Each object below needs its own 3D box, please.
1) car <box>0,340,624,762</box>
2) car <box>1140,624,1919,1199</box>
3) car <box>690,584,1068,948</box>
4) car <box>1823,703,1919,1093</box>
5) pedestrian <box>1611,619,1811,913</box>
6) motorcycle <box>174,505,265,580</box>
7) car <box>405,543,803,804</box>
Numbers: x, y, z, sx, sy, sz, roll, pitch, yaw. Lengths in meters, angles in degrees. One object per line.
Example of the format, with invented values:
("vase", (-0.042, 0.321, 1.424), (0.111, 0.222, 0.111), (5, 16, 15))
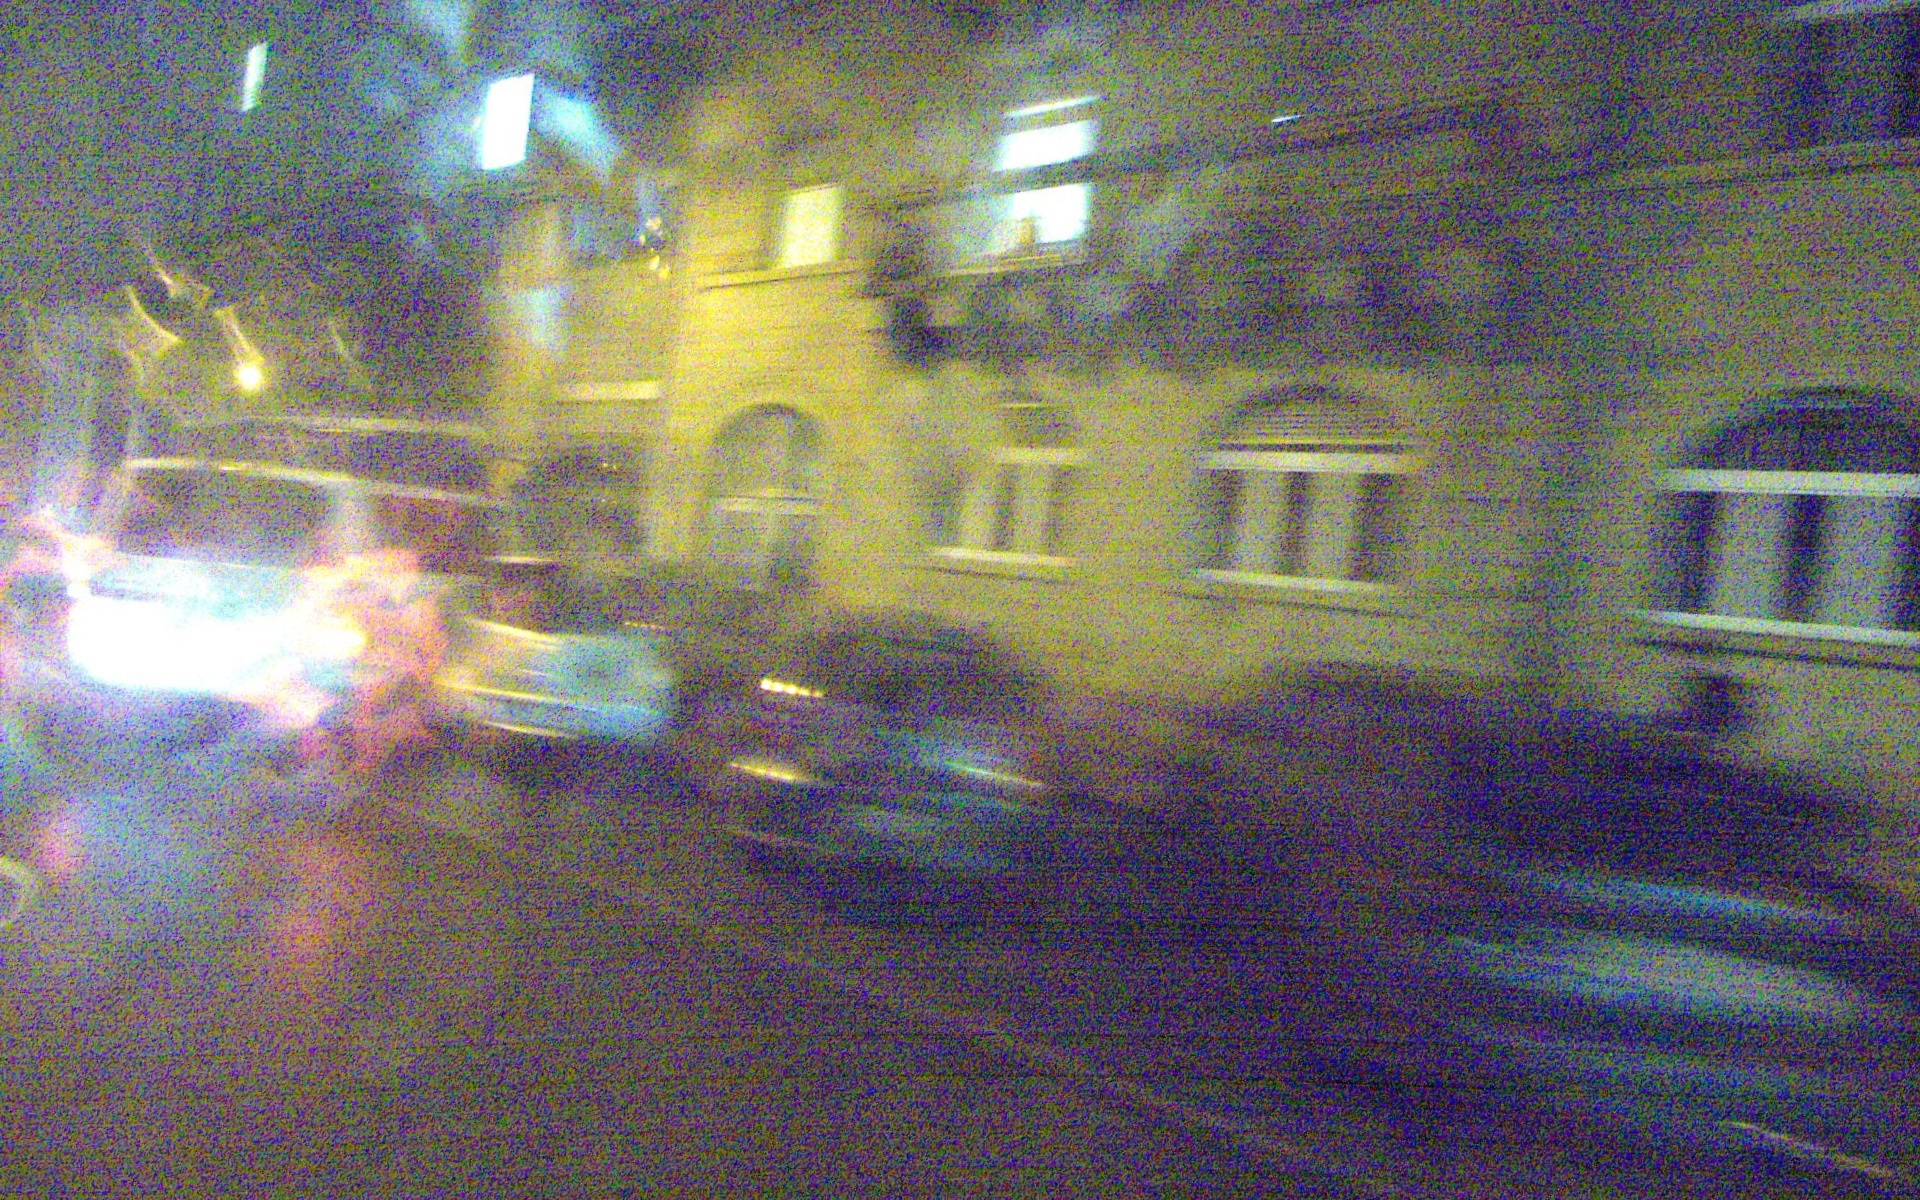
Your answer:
("car", (-4.907, -0.267, 8.723), (2.191, 2.369, 4.941), (7, -1, -1))
("car", (2.051, 1.008, 4.789), (1.718, 1.580, 4.054), (7, -1, 4))
("car", (-0.311, 0.729, 6.428), (1.583, 1.487, 3.728), (6, 1, 2))
("car", (4.908, 1.339, 2.888), (1.566, 1.580, 3.510), (7, -1, -3))
("pedestrian", (5.320, 1.131, 7.206), (0.828, 1.865, 0.746), (9, 3, 31))
("motorcycle", (-15.561, -1.217, 21.123), (2.088, 1.334, 0.524), (7, 0, 26))
("car", (-2.543, 0.406, 8.070), (1.599, 1.488, 3.451), (6, 3, 6))
